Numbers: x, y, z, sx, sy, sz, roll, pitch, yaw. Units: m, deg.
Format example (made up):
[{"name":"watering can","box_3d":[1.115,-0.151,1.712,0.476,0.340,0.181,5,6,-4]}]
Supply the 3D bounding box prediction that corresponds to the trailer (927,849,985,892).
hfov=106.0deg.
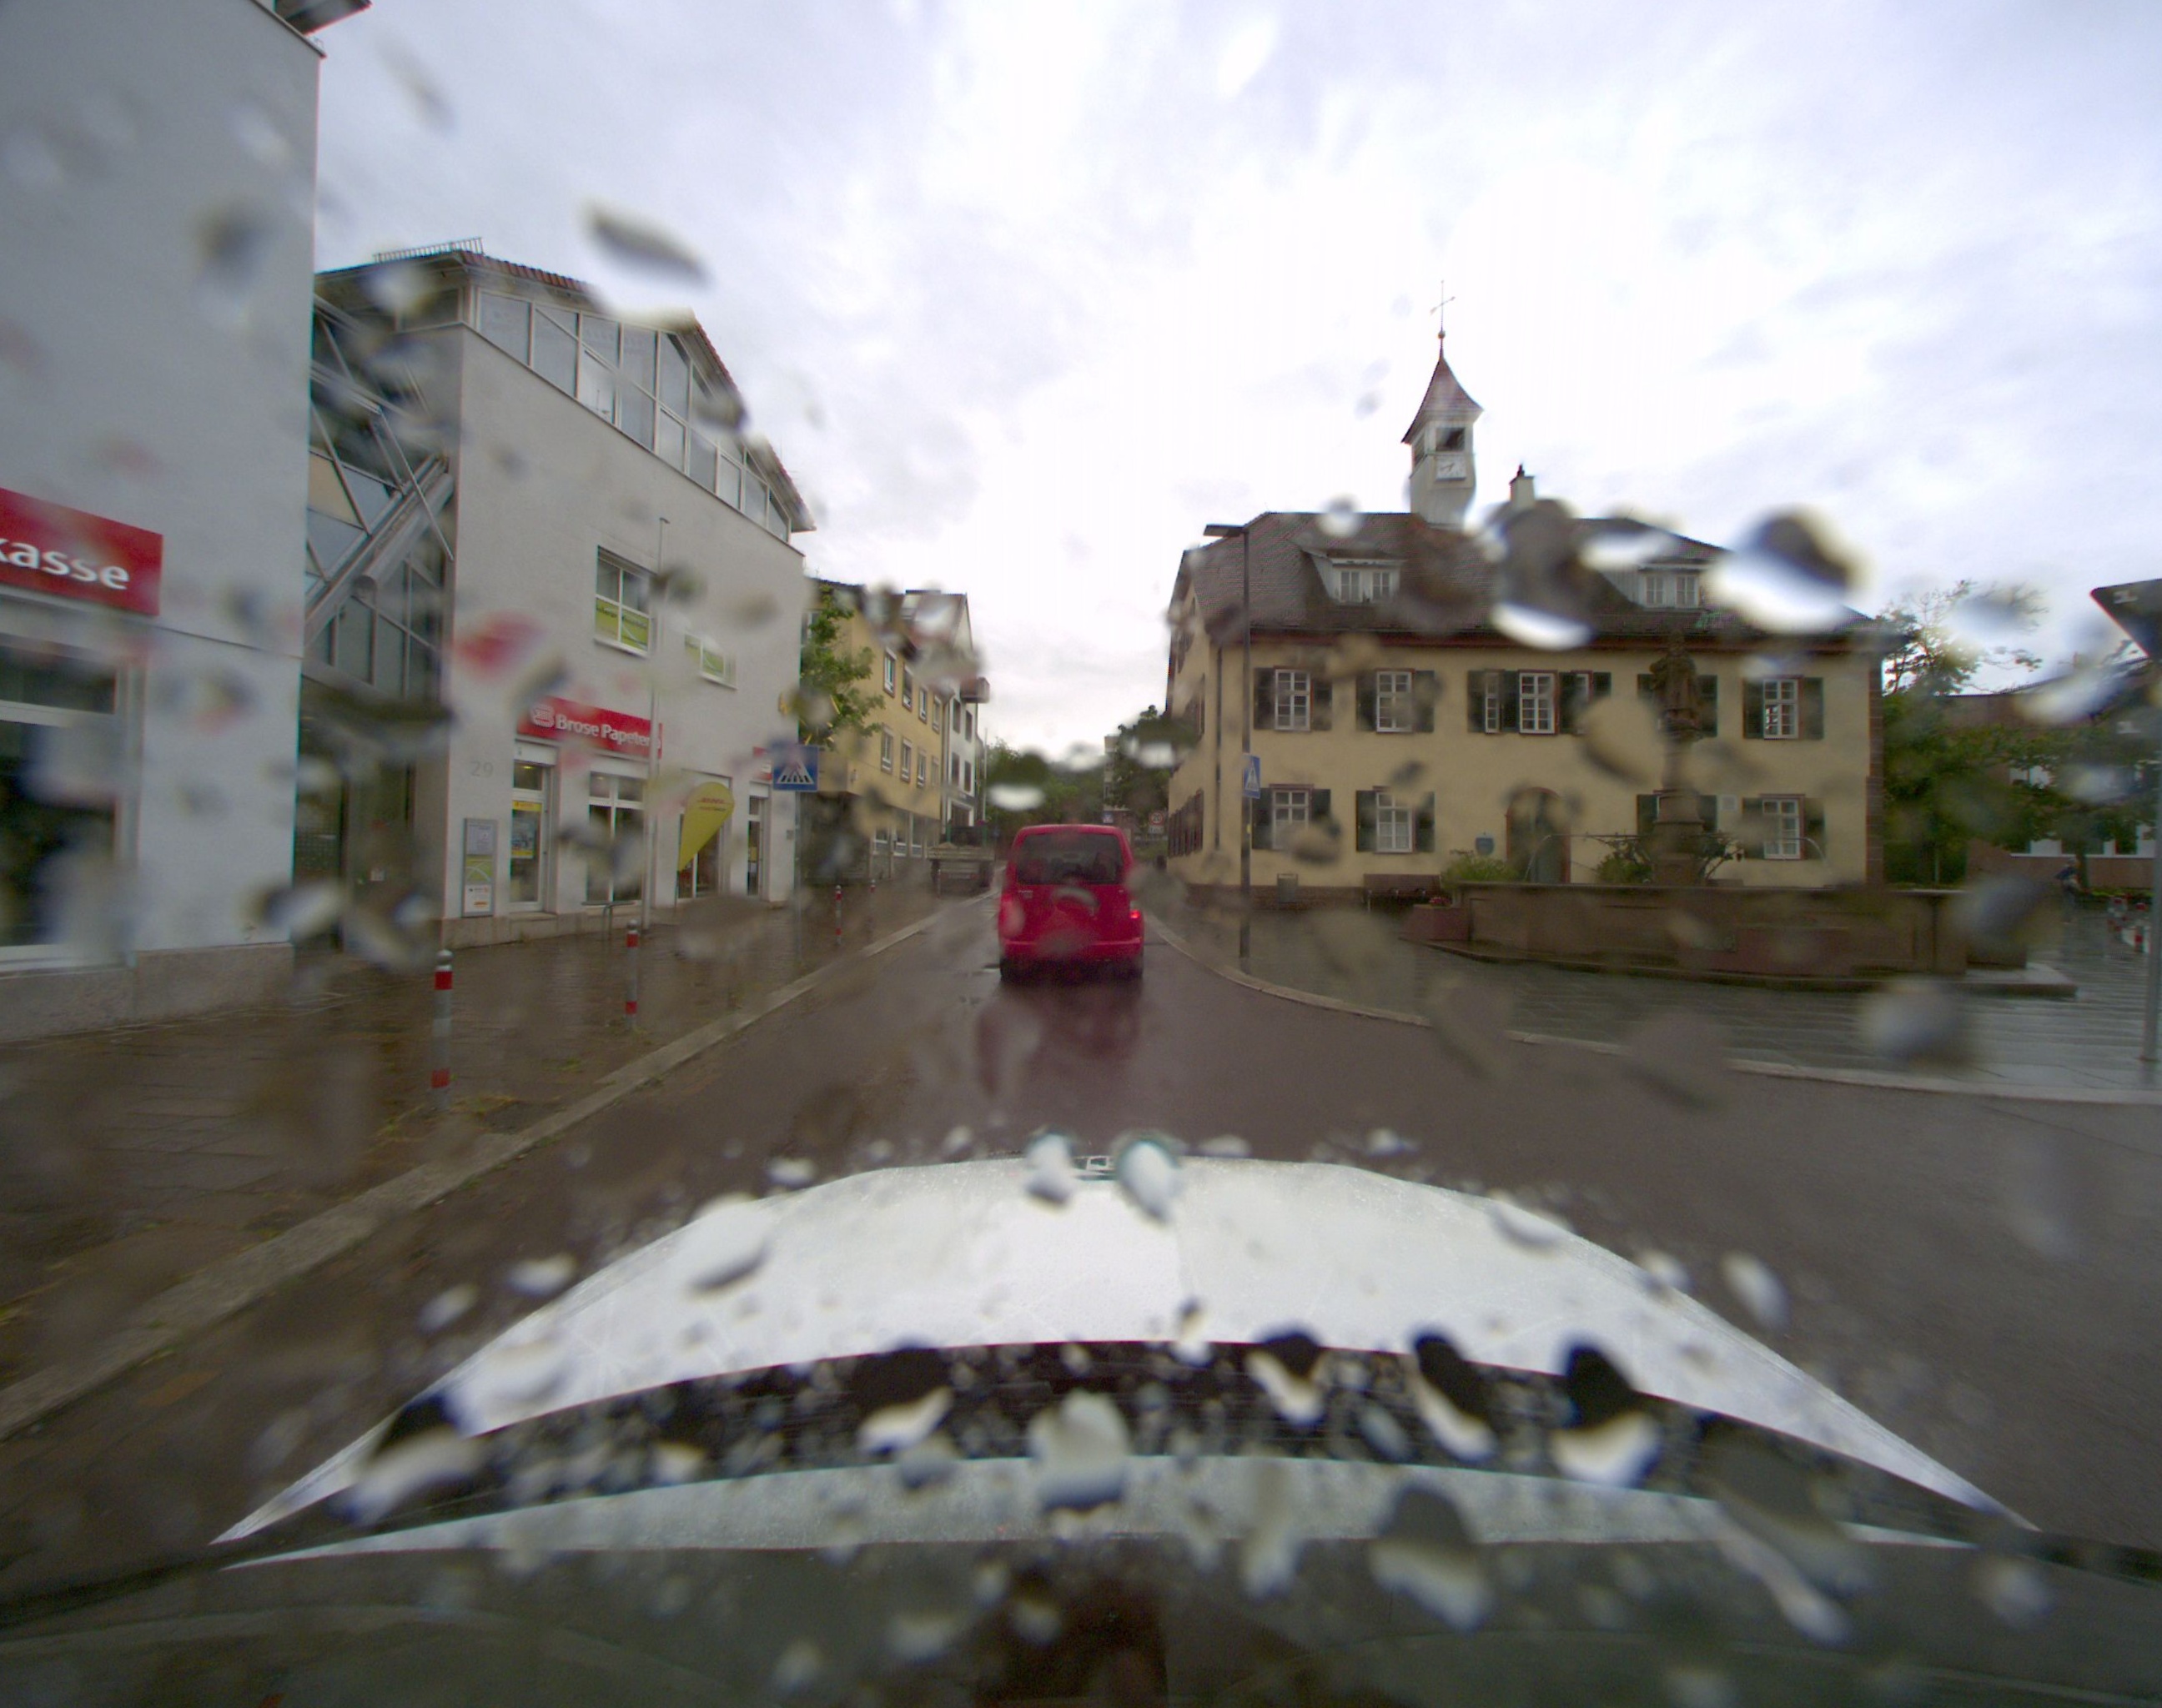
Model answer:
[{"name":"trailer","box_3d":[-4.240,0.513,27.931,1.725,1.346,3.156,0,1,-5]}]

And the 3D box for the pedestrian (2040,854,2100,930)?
[{"name":"pedestrian","box_3d":[24.381,0.921,20.078,0.688,1.822,0.786,0,-1,-26]}]

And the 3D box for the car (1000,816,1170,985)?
[{"name":"car","box_3d":[-0.059,0.507,11.051,1.858,1.830,4.180,-1,0,-3]}]

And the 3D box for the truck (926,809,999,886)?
[{"name":"truck","box_3d":[-4.610,-0.297,32.771,2.469,2.794,6.590,0,1,-4]}]

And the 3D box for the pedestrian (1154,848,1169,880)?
[{"name":"pedestrian","box_3d":[4.075,0.493,41.494,0.725,1.617,0.694,0,-1,3]}]
